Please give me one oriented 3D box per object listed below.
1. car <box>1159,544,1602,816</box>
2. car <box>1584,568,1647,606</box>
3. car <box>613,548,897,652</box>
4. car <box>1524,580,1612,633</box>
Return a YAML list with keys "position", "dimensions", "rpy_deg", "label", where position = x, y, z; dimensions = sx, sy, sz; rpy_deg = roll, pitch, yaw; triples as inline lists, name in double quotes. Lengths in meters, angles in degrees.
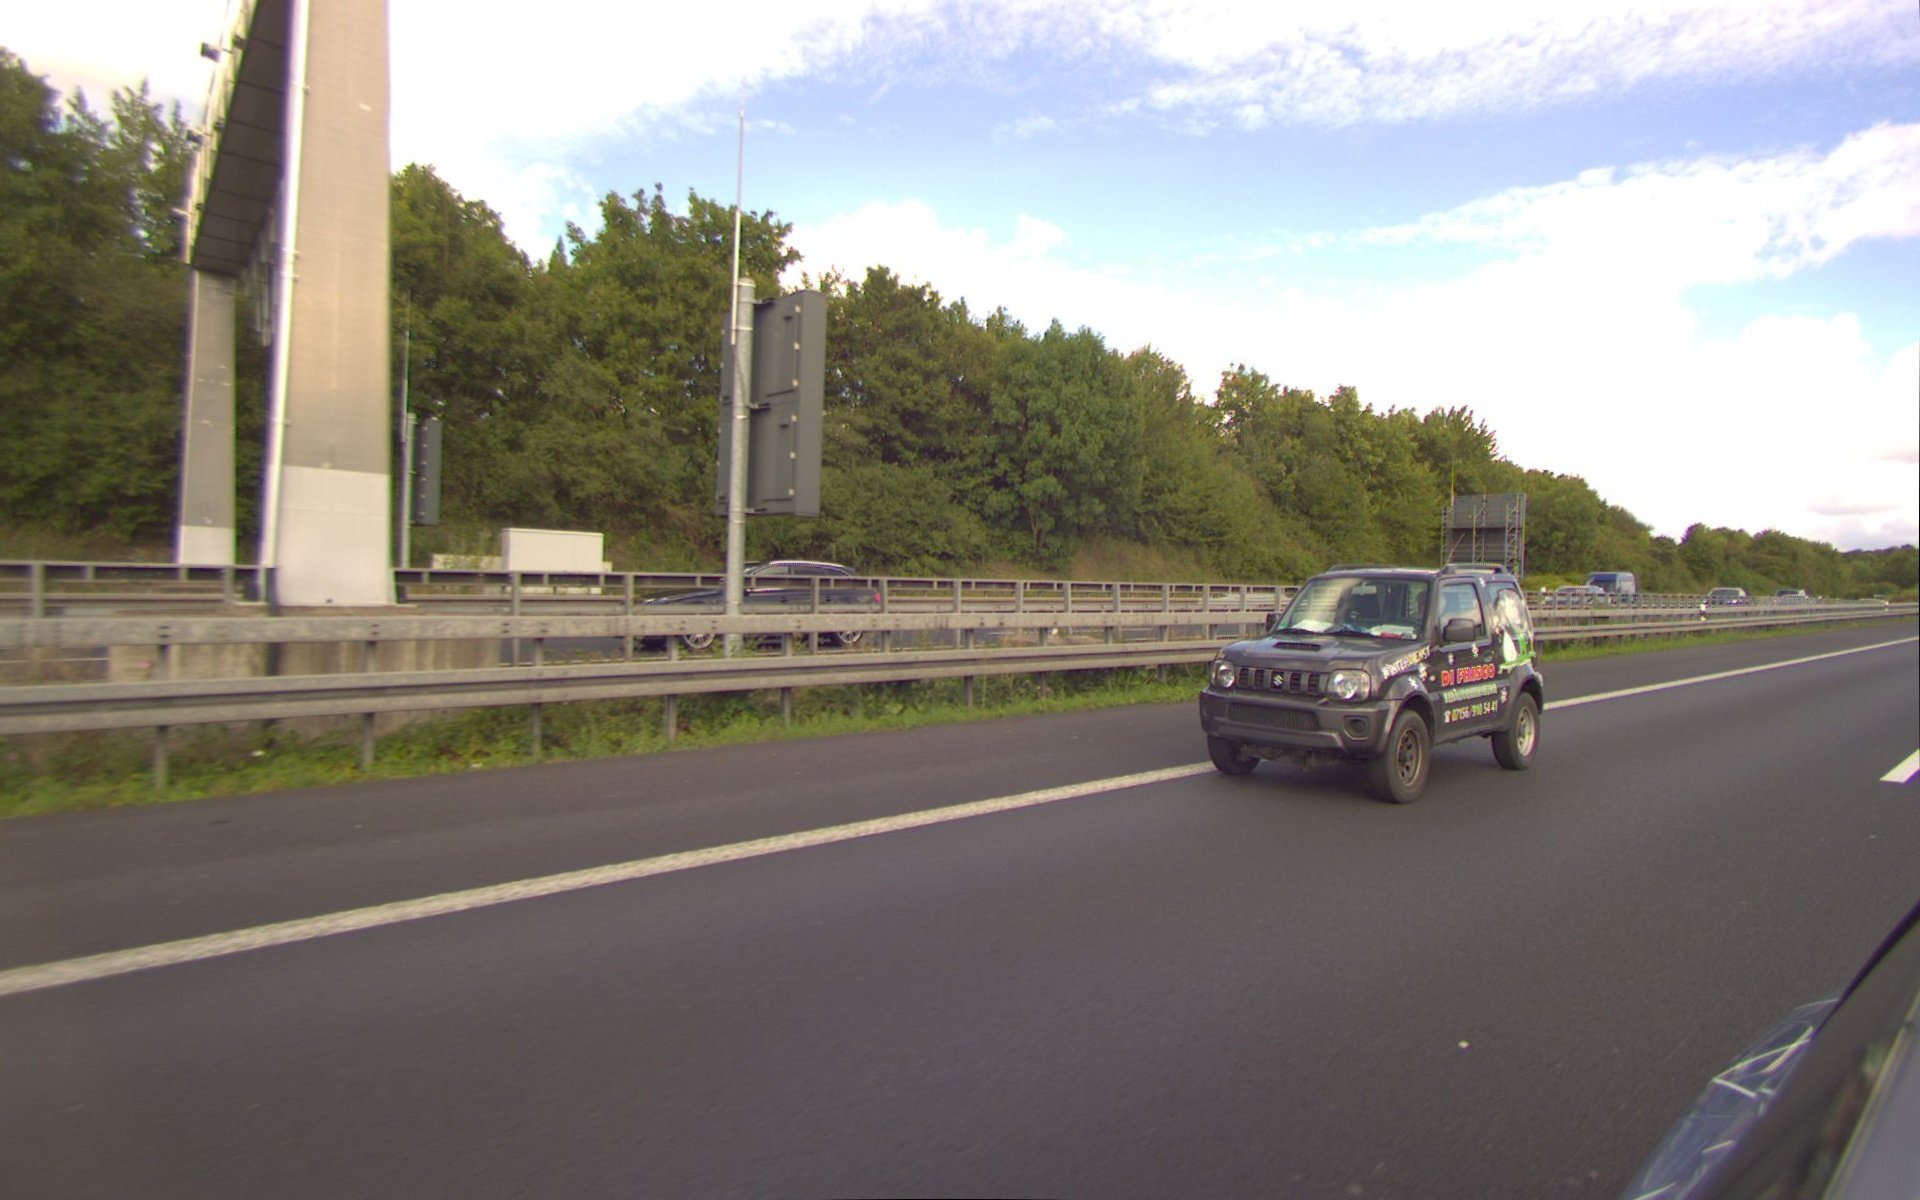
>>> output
- position: [3.669, 0.478, 8.493]
  dimensions: [4.132, 1.754, 1.670]
  rpy_deg: [0, 2, -40]
  label: "car"
- position: [40.645, -0.826, 62.679]
  dimensions: [5.040, 2.212, 1.997]
  rpy_deg: [0, 2, -42]
  label: "car"
- position: [-3.326, -0.047, 16.881]
  dimensions: [4.236, 1.503, 1.997]
  rpy_deg: [0, 2, -42]
  label: "car"
- position: [25.804, 0.246, 42.921]
  dimensions: [3.930, 2.038, 1.998]
  rpy_deg: [0, 3, -41]
  label: "car"
